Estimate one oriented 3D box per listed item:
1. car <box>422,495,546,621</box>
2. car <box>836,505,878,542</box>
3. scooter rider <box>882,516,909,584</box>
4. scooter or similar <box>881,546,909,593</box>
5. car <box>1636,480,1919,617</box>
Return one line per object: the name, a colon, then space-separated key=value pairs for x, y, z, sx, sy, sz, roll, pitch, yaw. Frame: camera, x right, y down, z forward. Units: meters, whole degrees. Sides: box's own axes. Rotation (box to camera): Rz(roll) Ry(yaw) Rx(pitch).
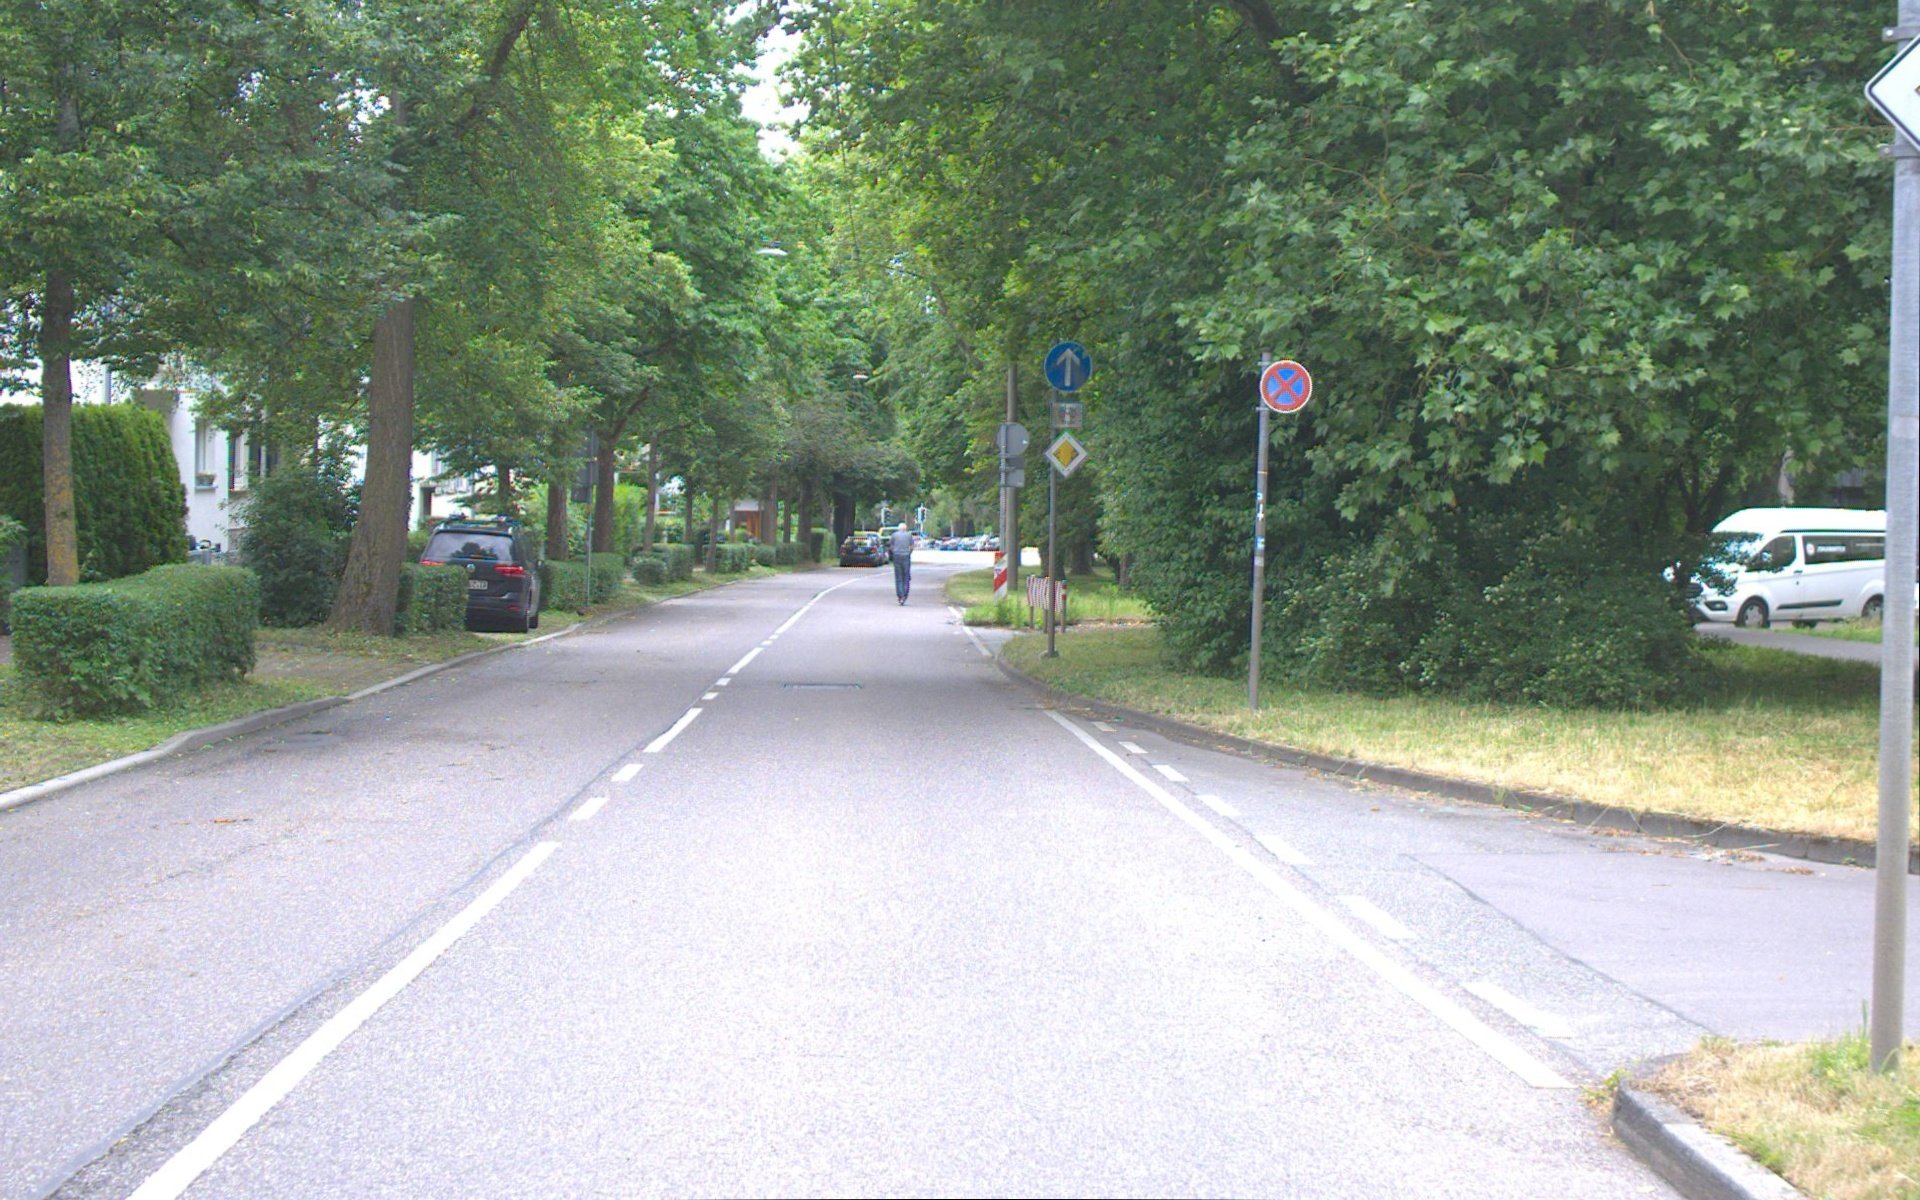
car: x=-7.445 y=-0.697 z=54.001 sx=1.642 sy=1.718 sz=3.801 roll=3 pitch=3 yaw=-5
car: x=-4.844 y=-3.621 z=161.829 sx=1.834 sy=1.493 sz=3.657 roll=4 pitch=3 yaw=-2
scooter rider: x=-1.483 y=-1.153 z=79.202 sx=0.601 sy=1.547 sz=0.566 roll=0 pitch=3 yaw=1
scooter or similar: x=-1.485 y=-0.705 z=79.075 sx=0.601 sy=1.051 sz=0.873 roll=0 pitch=3 yaw=1
car: x=15.547 y=-0.958 z=65.088 sx=5.368 sy=2.289 sz=2.138 roll=1 pitch=4 yaw=-36
